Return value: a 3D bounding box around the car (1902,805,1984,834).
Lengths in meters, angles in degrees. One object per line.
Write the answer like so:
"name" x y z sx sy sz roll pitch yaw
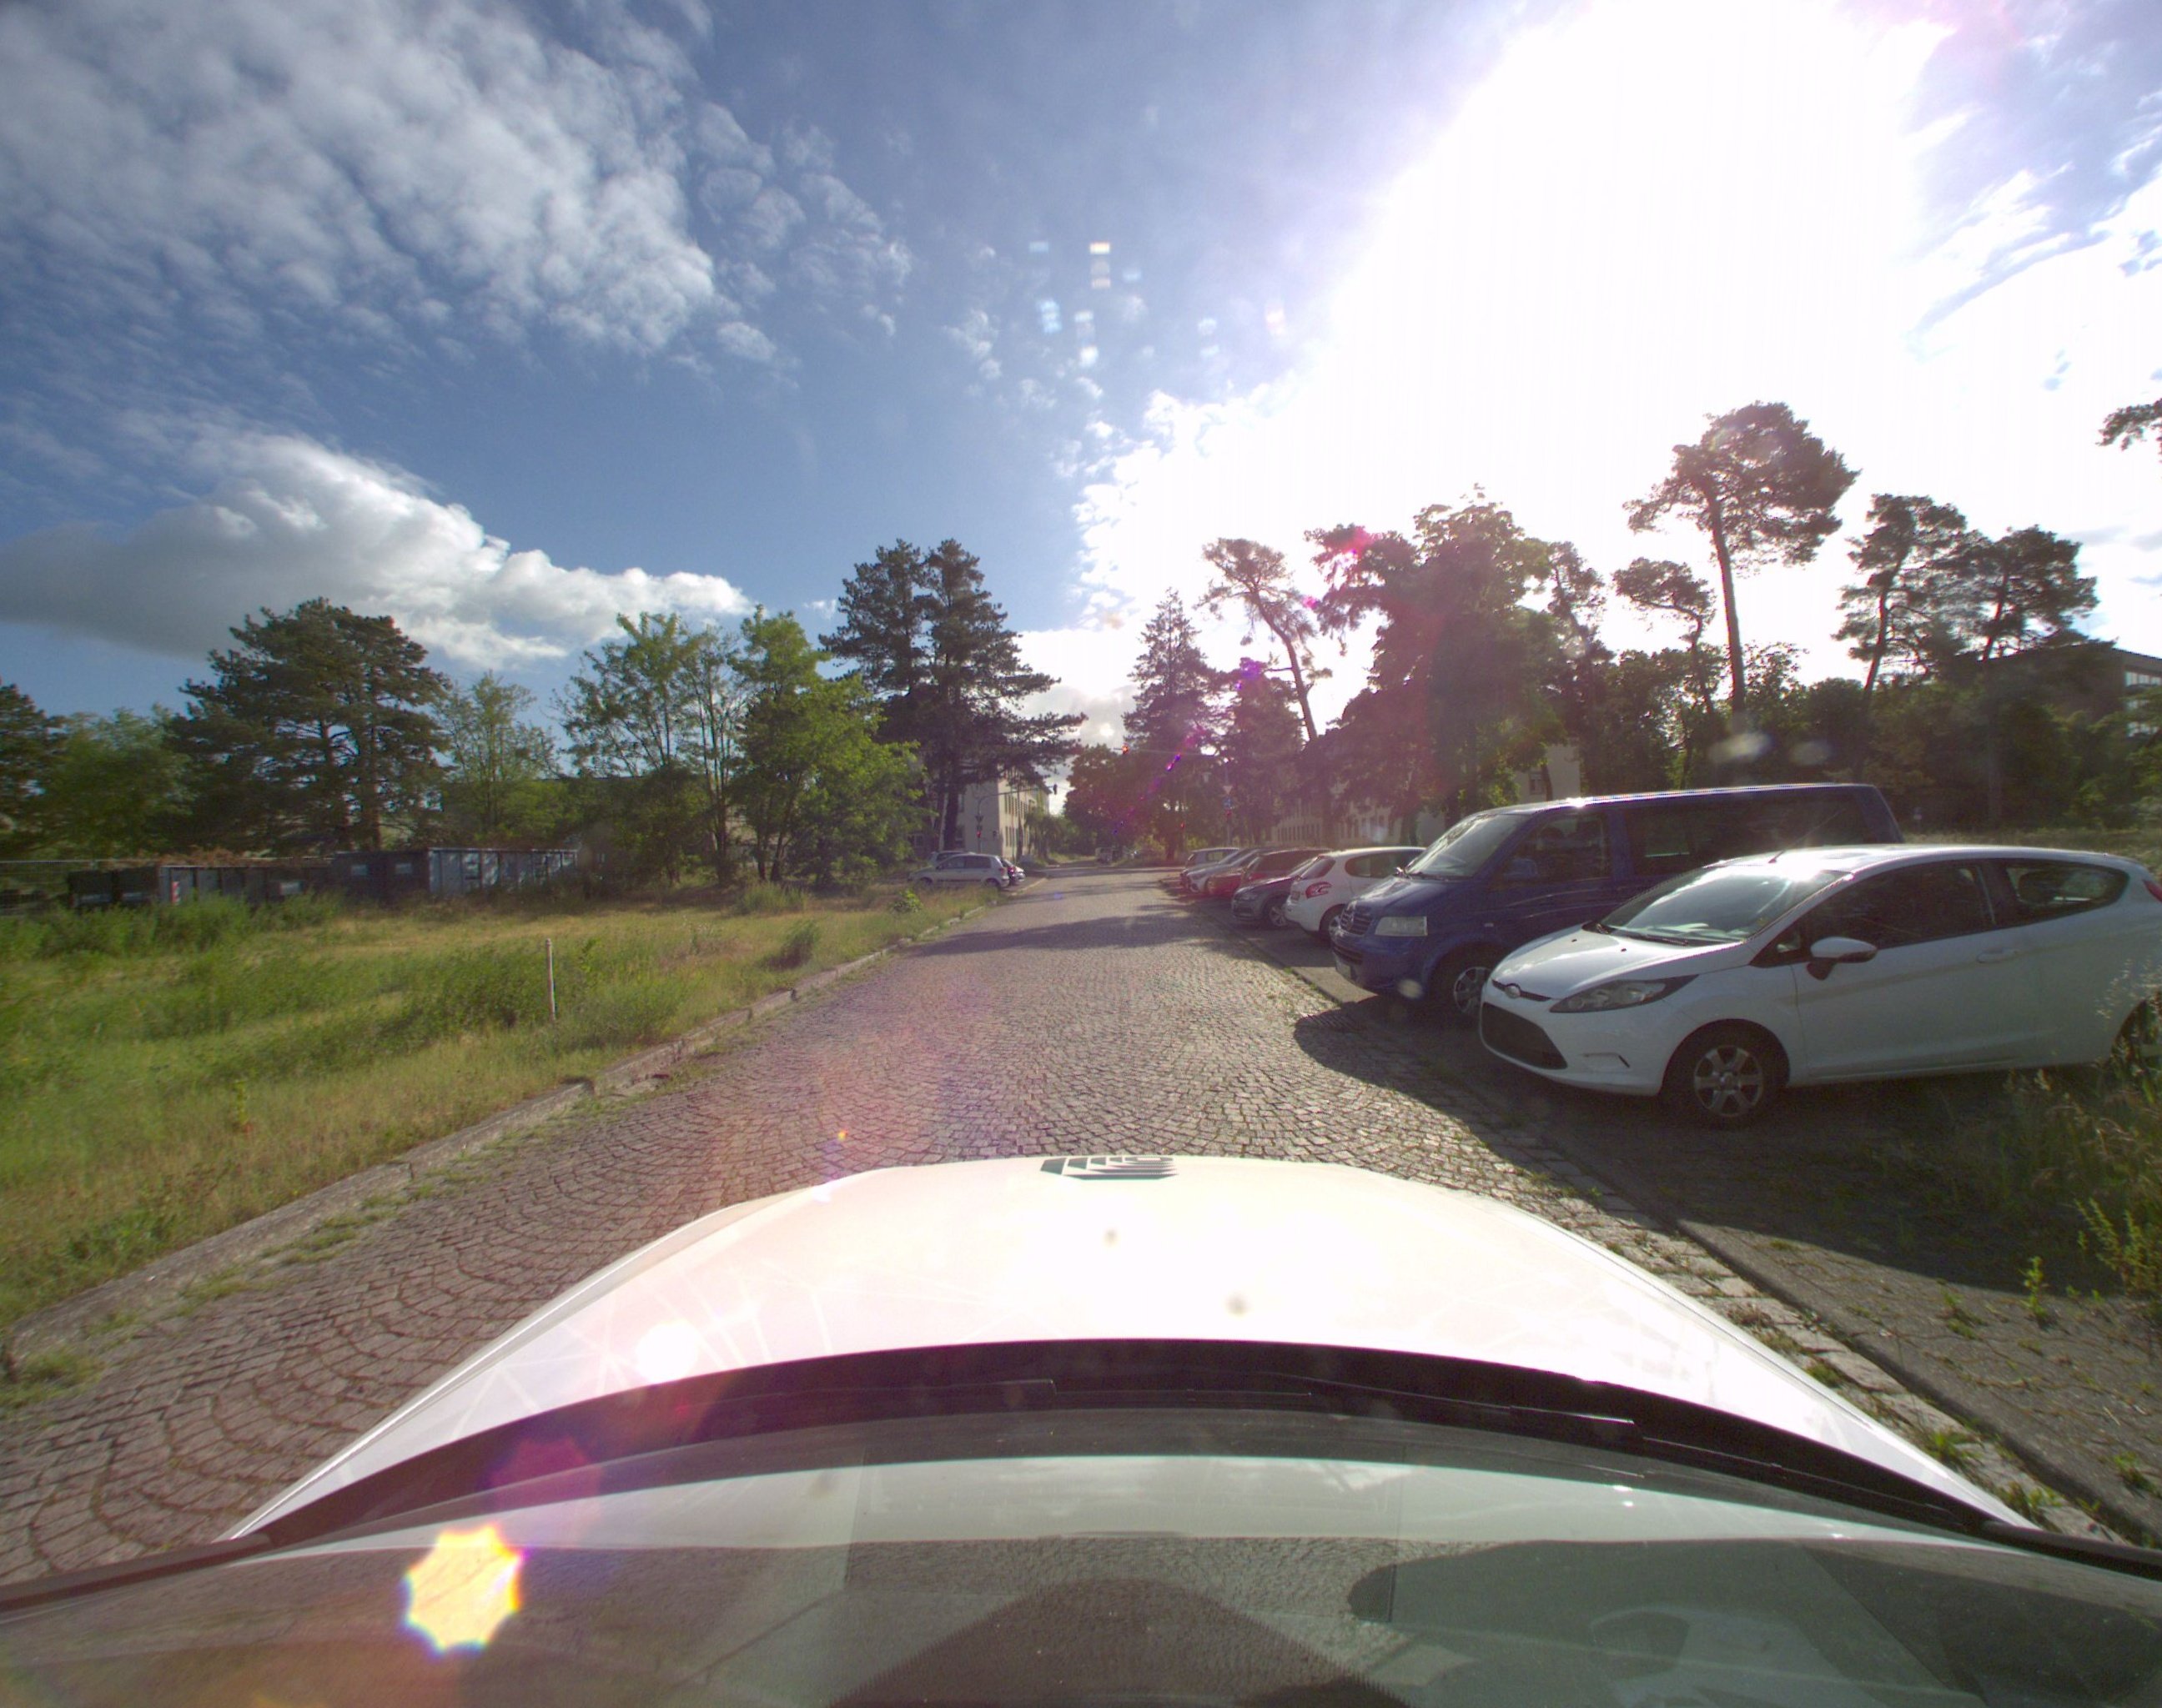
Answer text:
"car" 64.226 -2.553 60.731 3.972 2.013 2.001 -2 0 1

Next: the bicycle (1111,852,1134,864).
"bicycle" 4.115 0.403 80.634 2.172 1.100 0.805 -1 0 -8

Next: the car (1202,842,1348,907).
"car" 5.082 0.521 21.632 3.466 1.529 1.645 -2 0 0

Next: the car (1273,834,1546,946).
"car" 5.148 0.547 13.127 3.680 1.465 1.646 -4 0 2

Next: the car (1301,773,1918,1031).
"car" 4.785 0.385 7.933 4.664 2.013 2.082 -2 0 -2

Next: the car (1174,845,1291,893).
"car" 5.314 0.500 28.942 3.823 1.529 1.645 -2 0 0

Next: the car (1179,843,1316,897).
"car" 5.279 0.492 26.170 4.024 1.529 1.644 -2 0 -2

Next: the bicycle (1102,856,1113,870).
"bicycle" 2.522 0.837 77.204 0.803 1.169 2.177 -4 0 -4

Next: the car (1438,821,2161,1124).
"car" 4.541 0.630 5.278 3.708 1.488 1.645 -3 0 -1

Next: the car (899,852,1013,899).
"car" -4.676 0.780 31.017 3.975 1.600 1.999 -2 0 -1

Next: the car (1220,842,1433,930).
"car" 4.723 0.594 16.025 3.663 1.467 1.645 -3 0 0

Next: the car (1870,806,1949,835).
"car" 64.105 -2.559 63.071 3.972 2.013 2.001 -2 0 1

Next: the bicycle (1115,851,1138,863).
"bicycle" 4.594 0.308 81.716 2.172 1.100 0.805 -1 0 -8

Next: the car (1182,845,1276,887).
"car" 5.697 0.451 31.576 3.332 1.482 1.645 -2 0 0

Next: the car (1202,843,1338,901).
"car" 5.498 0.496 23.982 3.591 1.529 1.645 -2 0 0

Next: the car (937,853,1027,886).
"car" -4.645 0.698 38.812 3.973 1.453 2.001 1 0 1

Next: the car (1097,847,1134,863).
"car" 4.150 0.131 98.115 4.465 1.728 2.000 -1 0 1

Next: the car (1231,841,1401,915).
"car" 5.379 0.527 18.932 3.466 1.529 1.645 -2 0 0

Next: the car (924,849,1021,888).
"car" -4.793 0.613 36.412 3.973 1.601 2.000 1 0 1
